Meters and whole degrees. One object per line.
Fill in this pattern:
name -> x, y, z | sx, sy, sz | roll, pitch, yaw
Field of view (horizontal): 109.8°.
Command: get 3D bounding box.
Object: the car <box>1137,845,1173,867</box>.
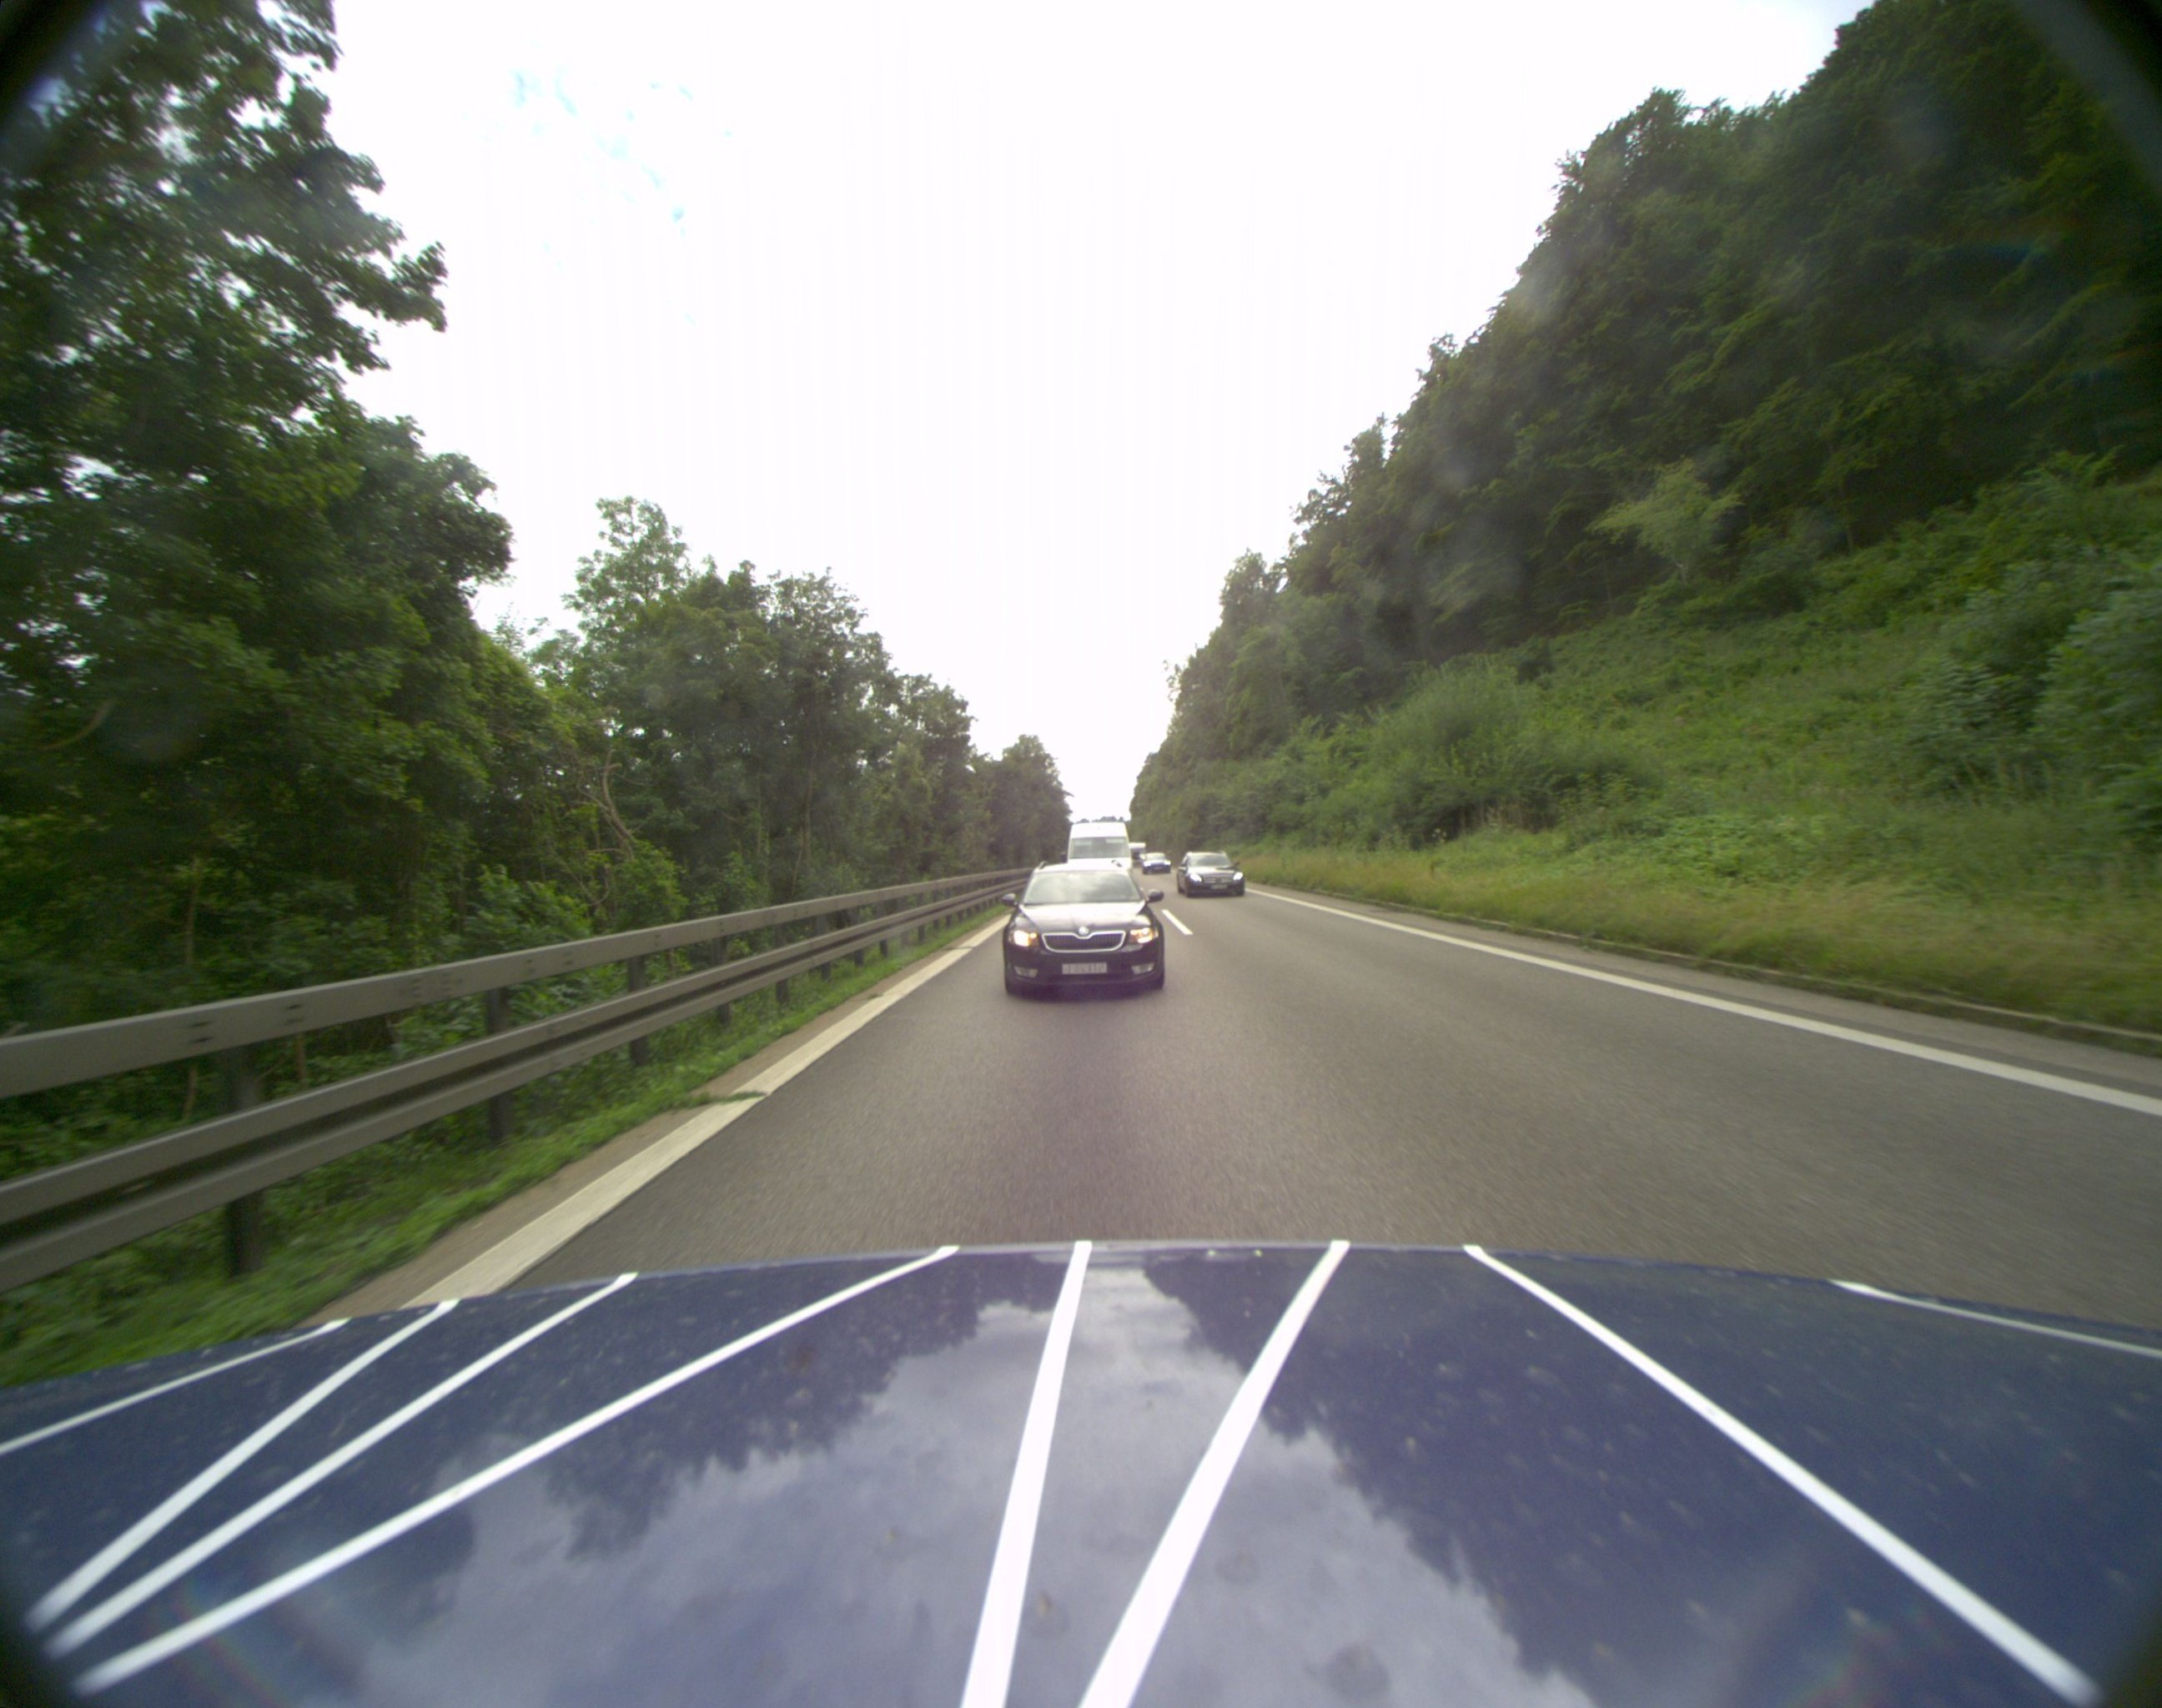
car -> 5.129, 0.103, 53.171 | 1.841, 1.460, 4.553 | -2, 1, -3

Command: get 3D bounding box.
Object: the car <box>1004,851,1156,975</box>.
car -> -0.024, 0.692, 11.145 | 1.751, 1.409, 4.401 | -2, 0, 0

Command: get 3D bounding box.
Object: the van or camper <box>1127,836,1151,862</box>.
van or camper -> 6.447, -0.594, 85.181 | 2.270, 2.719, 7.024 | -1, 0, 2

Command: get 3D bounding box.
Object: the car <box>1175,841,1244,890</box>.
car -> 4.311, 0.358, 26.122 | 1.764, 1.455, 5.123 | -2, 0, 3

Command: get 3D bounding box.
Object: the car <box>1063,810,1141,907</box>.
car -> 0.620, 0.099, 22.834 | 2.001, 2.545, 5.127 | -2, 1, 1
